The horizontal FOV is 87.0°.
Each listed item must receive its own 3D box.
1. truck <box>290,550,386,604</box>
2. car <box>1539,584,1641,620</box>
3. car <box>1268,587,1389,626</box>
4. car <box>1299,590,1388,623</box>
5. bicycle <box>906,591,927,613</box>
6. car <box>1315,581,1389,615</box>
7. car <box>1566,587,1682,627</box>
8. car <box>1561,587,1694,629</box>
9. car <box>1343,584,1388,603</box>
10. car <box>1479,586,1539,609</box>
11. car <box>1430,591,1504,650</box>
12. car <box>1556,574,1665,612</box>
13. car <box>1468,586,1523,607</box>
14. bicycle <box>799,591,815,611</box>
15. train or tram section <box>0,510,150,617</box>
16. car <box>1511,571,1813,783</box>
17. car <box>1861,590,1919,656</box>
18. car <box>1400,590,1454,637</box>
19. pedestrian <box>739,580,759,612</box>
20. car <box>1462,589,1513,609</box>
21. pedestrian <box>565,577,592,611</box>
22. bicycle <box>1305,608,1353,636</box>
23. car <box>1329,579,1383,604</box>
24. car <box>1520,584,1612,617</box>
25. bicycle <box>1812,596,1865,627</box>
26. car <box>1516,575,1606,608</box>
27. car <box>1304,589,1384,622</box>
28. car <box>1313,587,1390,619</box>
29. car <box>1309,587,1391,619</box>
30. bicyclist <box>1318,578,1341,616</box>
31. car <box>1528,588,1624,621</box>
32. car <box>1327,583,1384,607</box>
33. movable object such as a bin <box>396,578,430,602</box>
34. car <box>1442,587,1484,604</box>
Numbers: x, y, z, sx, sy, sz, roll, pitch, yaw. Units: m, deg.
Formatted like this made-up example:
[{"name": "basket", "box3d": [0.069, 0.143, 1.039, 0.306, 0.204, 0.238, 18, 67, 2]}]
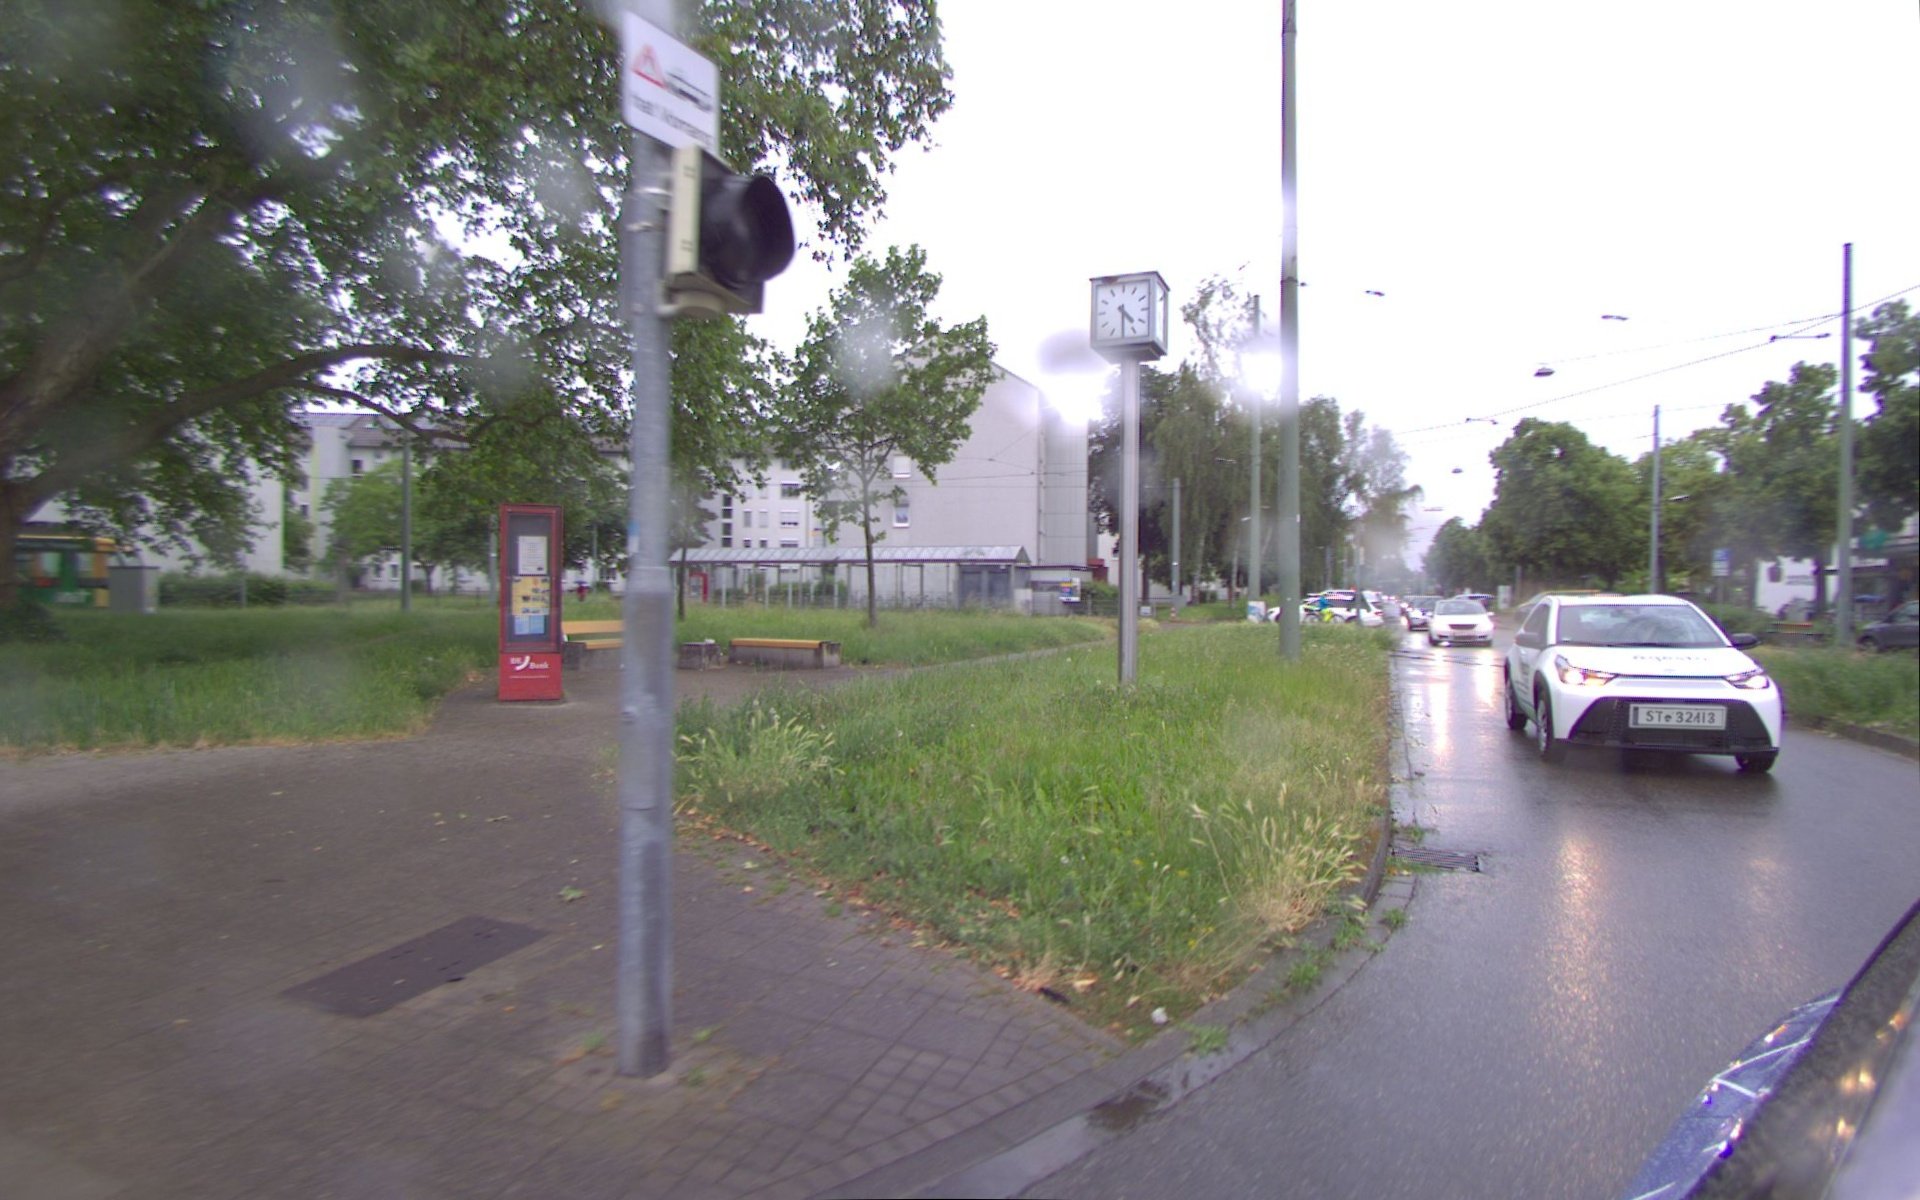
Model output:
[{"name": "truck", "box3d": [-44.549, -1.579, 72.413, 7.096, 3.518, 3.164, -2, 0, 34]}, {"name": "car", "box3d": [31.607, 0.120, 50.919, 4.044, 1.731, 1.884, -1, 0, 23]}, {"name": "car", "box3d": [16.085, 0.263, 44.177, 4.791, 1.476, 1.983, 3, 1, 25]}, {"name": "car", "box3d": [18.826, 0.302, 49.708, 3.957, 1.505, 1.708, -2, 0, 25]}, {"name": "bicycle", "box3d": [-1.979, 0.089, 46.291, 0.373, 0.968, 1.227, -2, 0, 26]}, {"name": "car", "box3d": [25.558, -0.107, 66.168, 4.390, 2.088, 1.711, -2, 0, 21]}, {"name": "car", "box3d": [28.859, 0.310, 44.115, 3.902, 1.695, 1.780, -1, 0, 23]}, {"name": "car", "box3d": [27.698, 0.333, 42.164, 4.288, 1.695, 1.985, -1, 0, 23]}, {"name": "car", "box3d": [44.026, -0.704, 110.006, 4.497, 2.051, 1.884, -1, 0, 23]}, {"name": "car", "box3d": [49.019, -0.253, 90.404, 4.497, 1.968, 1.884, -1, 0, 23]}, {"name": "car", "box3d": [15.706, 0.570, 31.469, 1.943, 1.572, 3.966, 0, 2, 26]}, {"name": "car", "box3d": [30.923, -0.320, 48.246, 4.044, 1.731, 1.884, -1, 0, 23]}, {"name": "car", "box3d": [52.422, -0.328, 99.144, 4.497, 1.968, 1.884, -1, 0, 23]}, {"name": "bicycle", "box3d": [-7.460, 0.057, 49.346, 0.410, 0.959, 1.305, -2, 0, 7]}, {"name": "train or tram section", "box3d": [-36.633, -1.215, 34.049, 14.429, 3.636, 2.719, 0, -1, -22]}, {"name": "car", "box3d": [6.554, 0.645, 9.898, 1.701, 1.644, 3.684, 0, -2, 23]}, {"name": "car", "box3d": [23.080, 0.530, 23.363, 1.525, 1.522, 3.617, -2, 0, 6]}, {"name": "car", "box3d": [21.527, 0.591, 46.785, 1.976, 2.039, 3.971, -2, 0, 22]}, {"name": "pedestrian", "box3d": [-10.691, -0.201, 51.379, 0.629, 1.592, 0.784, -2, -1, 22]}, {"name": "car", "box3d": [55.498, -0.087, 106.542, 4.497, 1.968, 1.884, -1, 0, 23]}, {"name": "pedestrian", "box3d": [-22.301, -0.342, 59.185, 1.168, 1.907, 1.053, -1, -1, -39]}, {"name": "bicycle", "box3d": [15.237, 0.904, 41.791, 1.723, 1.144, 0.727, 0, -1, 5]}, {"name": "car", "box3d": [35.412, -0.752, 90.699, 4.390, 2.088, 1.711, -2, 0, 21]}, {"name": "car", "box3d": [36.827, 0.051, 61.644, 4.497, 1.968, 1.884, -1, 0, 23]}, {"name": "bicycle", "box3d": [32.724, 0.417, 37.723, 0.583, 1.086, 1.748, 1, 1, 6]}, {"name": "car", "box3d": [35.076, -0.466, 59.214, 4.256, 1.832, 1.884, -1, 0, 23]}, {"name": "car", "box3d": [23.267, 0.334, 61.377, 4.398, 1.869, 1.708, -2, 0, 25]}, {"name": "car", "box3d": [24.530, 0.178, 63.396, 4.398, 1.869, 1.708, -2, 0, 25]}, {"name": "car", "box3d": [20.919, 0.179, 54.290, 3.957, 1.606, 1.708, -2, 0, 25]}, {"name": "bicyclist", "box3d": [15.268, -0.121, 41.810, 0.686, 1.536, 0.724, 0, -1, 4]}, {"name": "car", "box3d": [32.674, 0.248, 53.823, 4.044, 1.731, 1.884, -1, 0, 23]}, {"name": "car", "box3d": [33.953, -0.388, 86.853, 4.497, 1.968, 1.884, -1, 0, 23]}, {"name": "movable object such as a bin", "box3d": [-49.433, -0.903, 91.521, 1.867, 2.039, 2.238, -1, 0, -2]}, {"name": "car", "box3d": [62.416, -0.573, 125.637, 4.497, 1.968, 1.884, -1, 0, 23]}]
